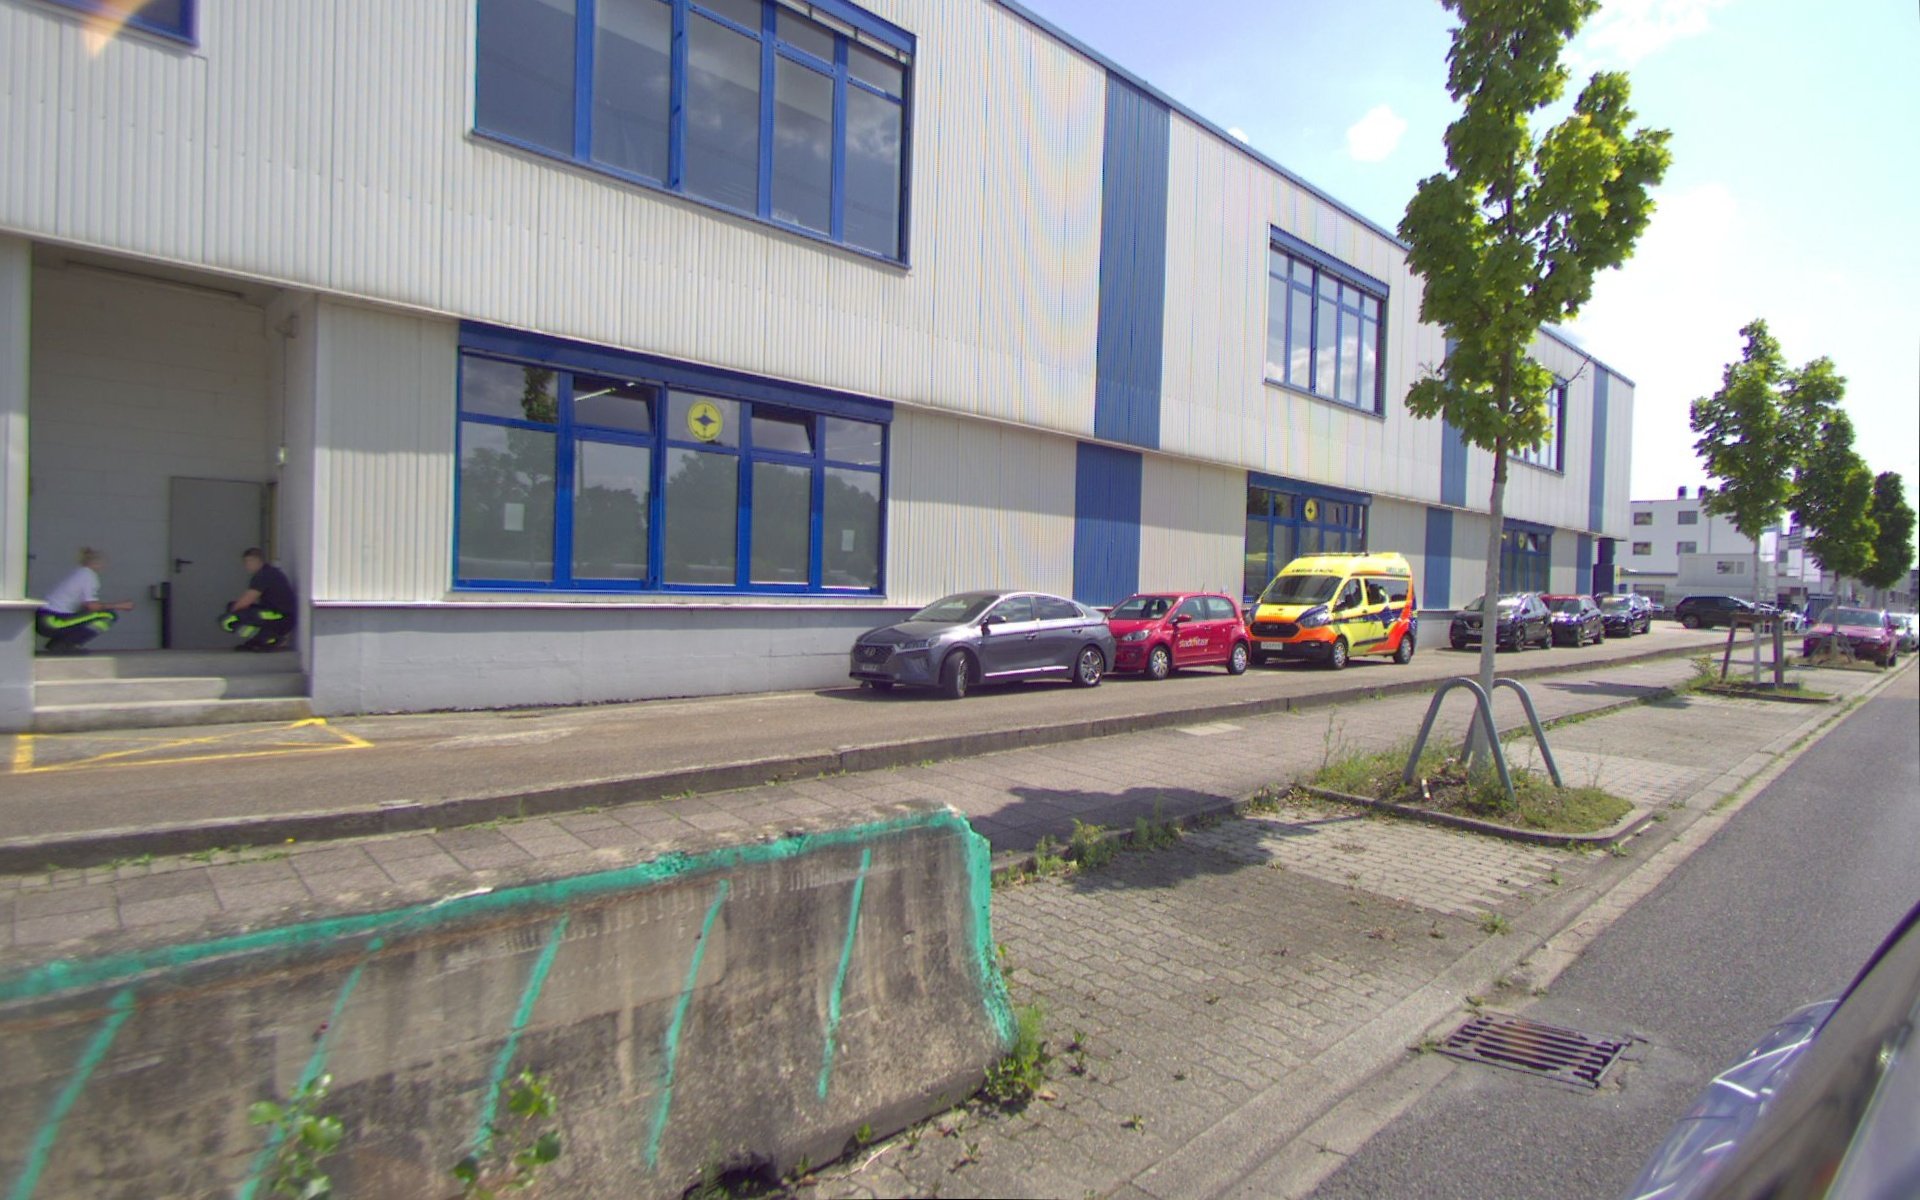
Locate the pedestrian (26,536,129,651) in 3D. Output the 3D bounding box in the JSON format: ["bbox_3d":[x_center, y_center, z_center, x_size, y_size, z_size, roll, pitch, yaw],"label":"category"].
[{"bbox_3d":[-8.238,-0.056,9.445,0.699,1.026,0.564,1,-1,-44],"label":"pedestrian"}]

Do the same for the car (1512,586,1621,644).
[{"bbox_3d":[19.789,0.431,32.953,4.219,1.677,1.996,-1,3,-44],"label":"car"}]

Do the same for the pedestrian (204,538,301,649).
[{"bbox_3d":[-7.234,-0.059,10.353,0.738,1.089,0.564,1,-1,-44],"label":"pedestrian"}]

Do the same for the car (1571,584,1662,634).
[{"bbox_3d":[24.236,0.277,37.288,4.565,1.530,1.829,-3,4,-44],"label":"car"}]

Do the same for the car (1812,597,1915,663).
[{"bbox_3d":[25.638,0.782,28.670,4.598,1.671,1.757,0,1,-43],"label":"car"}]

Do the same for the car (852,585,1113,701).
[{"bbox_3d":[0.420,0.528,14.466,3.791,1.421,1.497,0,1,-44],"label":"car"}]

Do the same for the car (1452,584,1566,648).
[{"bbox_3d":[15.956,0.417,29.351,4.145,1.672,1.716,0,2,-44],"label":"car"}]

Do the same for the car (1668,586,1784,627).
[{"bbox_3d":[35.804,0.278,47.359,1.968,1.707,4.087,1,1,-45],"label":"car"}]

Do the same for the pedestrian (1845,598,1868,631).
[{"bbox_3d":[49.537,0.792,55.918,0.774,1.778,0.770,1,3,-45],"label":"pedestrian"}]

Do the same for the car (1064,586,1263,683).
[{"bbox_3d":[3.636,0.536,17.749,3.753,1.509,1.574,0,1,-44],"label":"car"}]

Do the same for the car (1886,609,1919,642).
[{"bbox_3d":[47.689,1.236,50.550,4.523,1.539,1.869,0,1,-45],"label":"car"}]

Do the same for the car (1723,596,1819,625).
[{"bbox_3d":[46.213,0.577,57.713,1.966,1.437,3.993,1,2,-43],"label":"car"}]

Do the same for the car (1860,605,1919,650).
[{"bbox_3d":[34.898,0.998,37.782,3.929,1.539,1.670,0,1,-44],"label":"car"}]

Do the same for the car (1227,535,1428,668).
[{"bbox_3d":[7.918,-0.001,21.486,5.172,2.494,1.925,0,1,-44],"label":"car"}]

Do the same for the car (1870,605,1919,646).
[{"bbox_3d":[38.781,1.011,41.572,4.388,1.539,1.836,0,1,-45],"label":"car"}]

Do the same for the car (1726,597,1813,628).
[{"bbox_3d":[47.637,0.704,59.585,1.762,1.701,3.810,0,1,-44],"label":"car"}]

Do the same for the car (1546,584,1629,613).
[{"bbox_3d":[45.519,-0.102,73.492,2.237,1.961,4.687,1,1,-42],"label":"car"}]
